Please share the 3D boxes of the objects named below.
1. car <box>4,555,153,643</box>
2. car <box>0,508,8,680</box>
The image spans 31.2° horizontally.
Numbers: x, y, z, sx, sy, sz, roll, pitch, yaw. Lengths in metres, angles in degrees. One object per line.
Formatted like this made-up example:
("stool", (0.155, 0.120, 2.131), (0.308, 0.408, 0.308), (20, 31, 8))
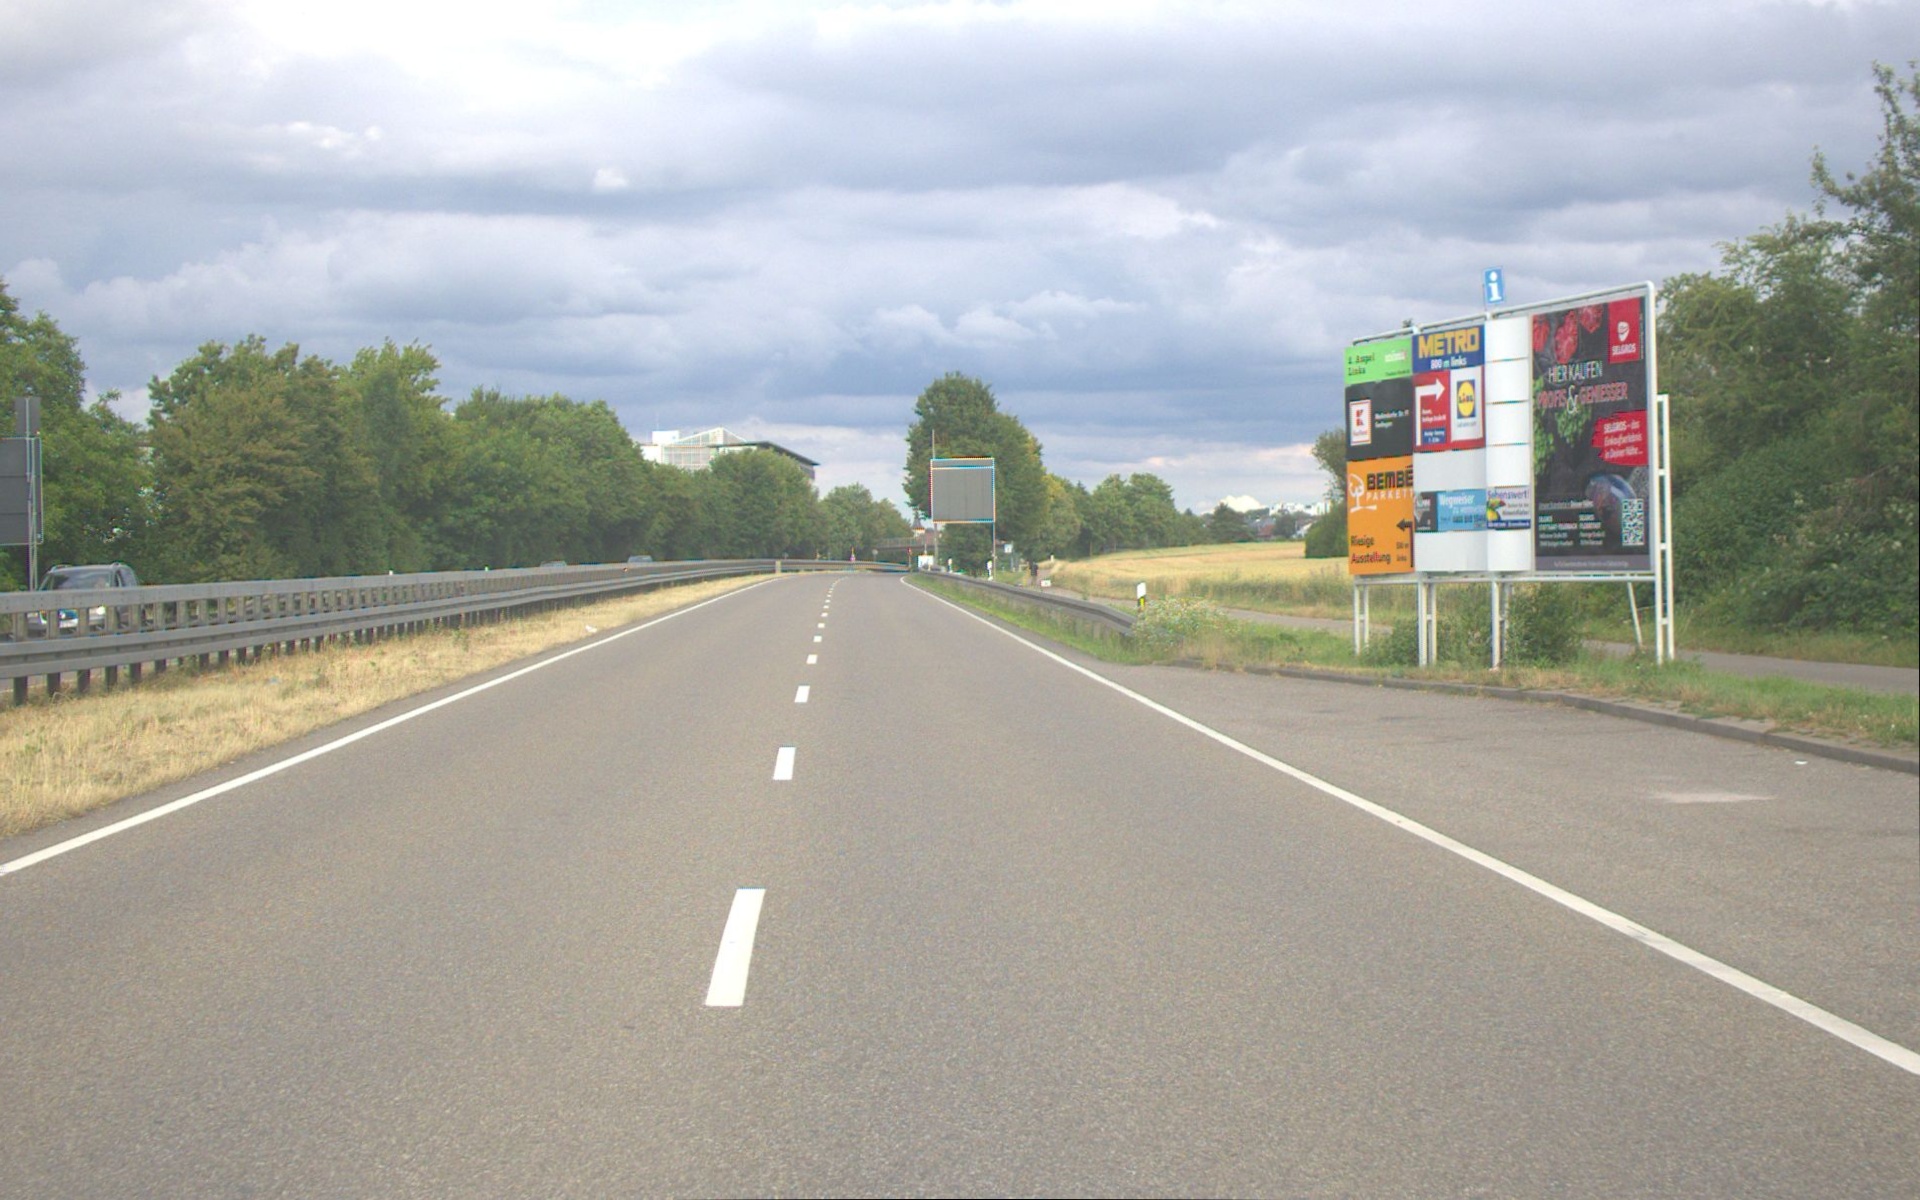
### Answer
("car", (-17.403, -0.046, 68.055), (1.797, 1.620, 4.484), (-2, 1, -1))
("car", (-12.888, -0.001, 40.216), (1.993, 2.133, 5.319), (-2, 1, -1))
